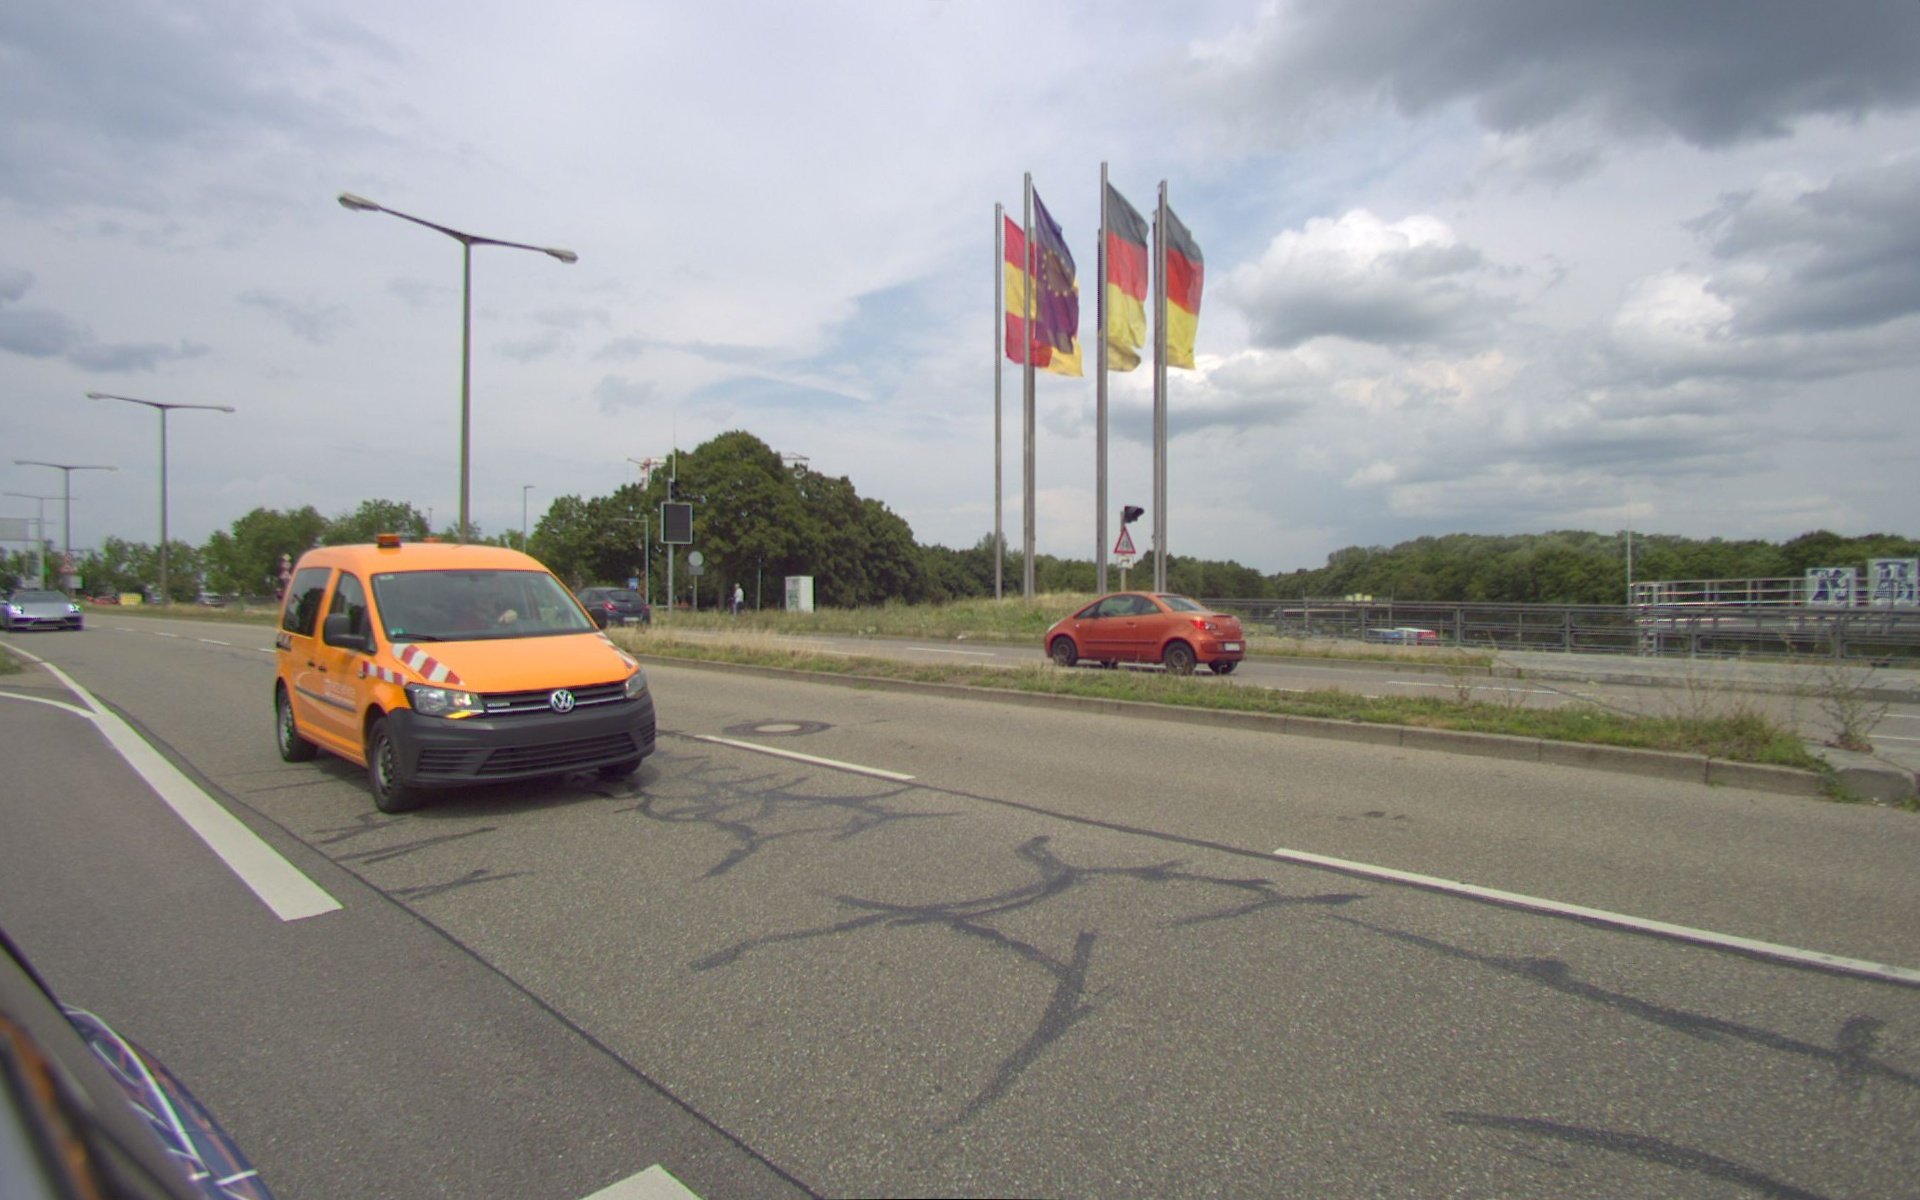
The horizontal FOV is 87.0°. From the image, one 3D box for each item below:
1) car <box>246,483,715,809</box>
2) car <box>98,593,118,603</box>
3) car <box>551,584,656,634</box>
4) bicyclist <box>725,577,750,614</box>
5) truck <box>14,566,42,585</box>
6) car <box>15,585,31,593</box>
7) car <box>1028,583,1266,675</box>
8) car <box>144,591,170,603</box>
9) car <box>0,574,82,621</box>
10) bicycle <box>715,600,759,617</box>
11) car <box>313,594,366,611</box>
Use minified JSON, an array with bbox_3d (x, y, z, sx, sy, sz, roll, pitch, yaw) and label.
[{"bbox_3d":[-3.961,0.233,7.946,4.431,1.849,1.867,0,1,44],"label":"car"},{"bbox_3d":[-103.192,-0.255,122.519,3.470,1.246,1.449,0,1,44],"label":"car"},{"bbox_3d":[-11.521,0.265,32.607,3.684,1.505,1.673,0,1,43],"label":"car"},{"bbox_3d":[-9.776,-0.199,44.474,0.737,1.604,0.809,0,0,45],"label":"bicyclist"},{"bbox_3d":[-101.219,-2.626,109.857,4.001,2.029,1.971,0,0,44],"label":"truck"},{"bbox_3d":[-149.297,-1.813,161.185,3.470,1.246,1.672,0,1,44],"label":"car"},{"bbox_3d":[3.338,0.489,18.531,4.000,1.505,1.672,0,-1,43],"label":"car"},{"bbox_3d":[-83.725,-0.351,105.563,3.470,1.246,1.672,0,1,44],"label":"car"},{"bbox_3d":[-29.558,-0.114,32.439,3.683,1.422,1.673,0,1,42],"label":"car"},{"bbox_3d":[-9.827,0.369,44.500,0.809,0.739,2.223,0,0,-45],"label":"bicycle"},{"bbox_3d":[-54.181,0.215,88.404,3.585,1.475,1.699,-1,1,-5],"label":"car"}]
